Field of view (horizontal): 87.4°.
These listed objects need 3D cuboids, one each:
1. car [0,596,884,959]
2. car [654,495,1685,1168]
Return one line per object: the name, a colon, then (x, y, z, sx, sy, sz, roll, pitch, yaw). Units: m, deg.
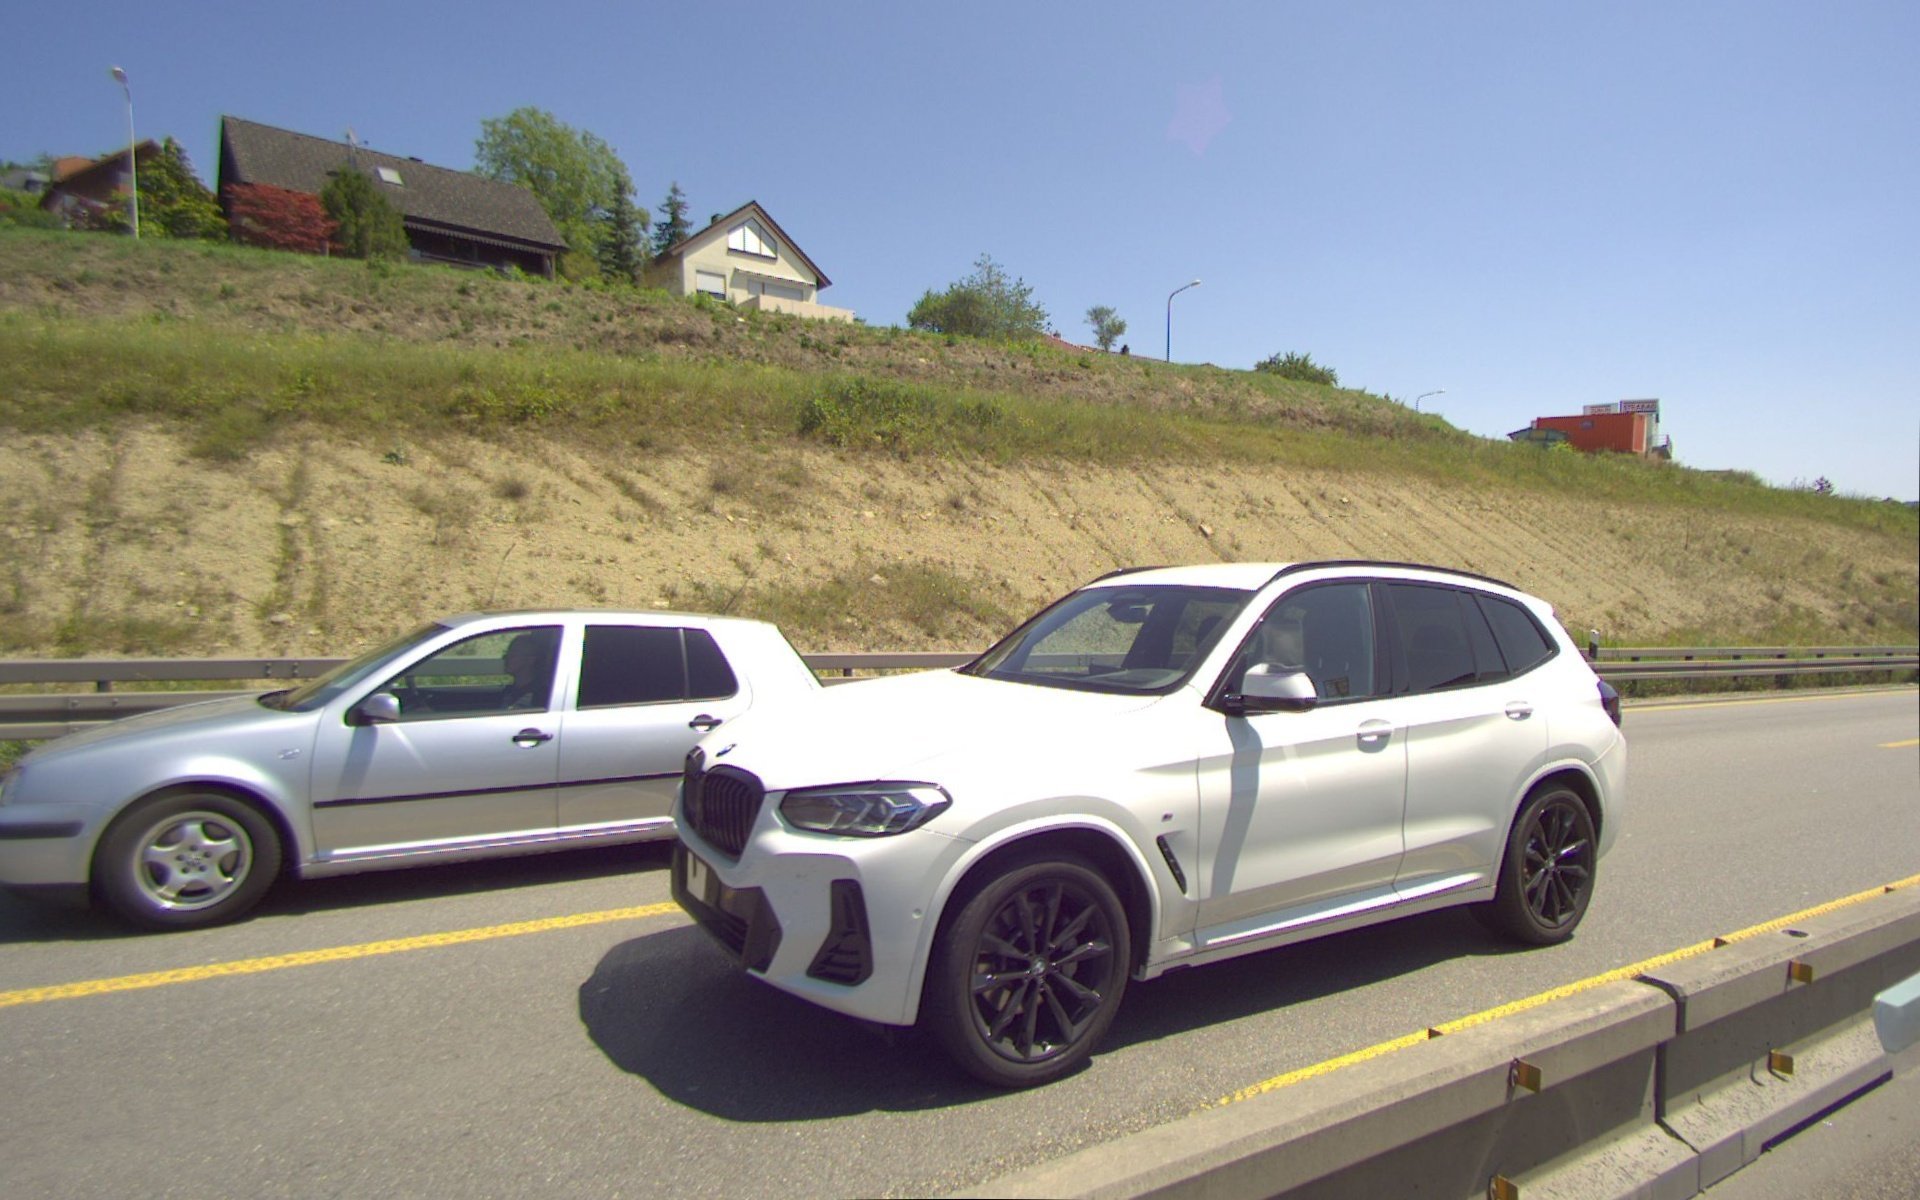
car: (-2.557, 0.724, 5.606, 3.921, 1.397, 1.693, 1, 0, -31)
car: (1.130, 0.624, 4.562, 4.509, 1.731, 1.881, 1, 0, -31)
